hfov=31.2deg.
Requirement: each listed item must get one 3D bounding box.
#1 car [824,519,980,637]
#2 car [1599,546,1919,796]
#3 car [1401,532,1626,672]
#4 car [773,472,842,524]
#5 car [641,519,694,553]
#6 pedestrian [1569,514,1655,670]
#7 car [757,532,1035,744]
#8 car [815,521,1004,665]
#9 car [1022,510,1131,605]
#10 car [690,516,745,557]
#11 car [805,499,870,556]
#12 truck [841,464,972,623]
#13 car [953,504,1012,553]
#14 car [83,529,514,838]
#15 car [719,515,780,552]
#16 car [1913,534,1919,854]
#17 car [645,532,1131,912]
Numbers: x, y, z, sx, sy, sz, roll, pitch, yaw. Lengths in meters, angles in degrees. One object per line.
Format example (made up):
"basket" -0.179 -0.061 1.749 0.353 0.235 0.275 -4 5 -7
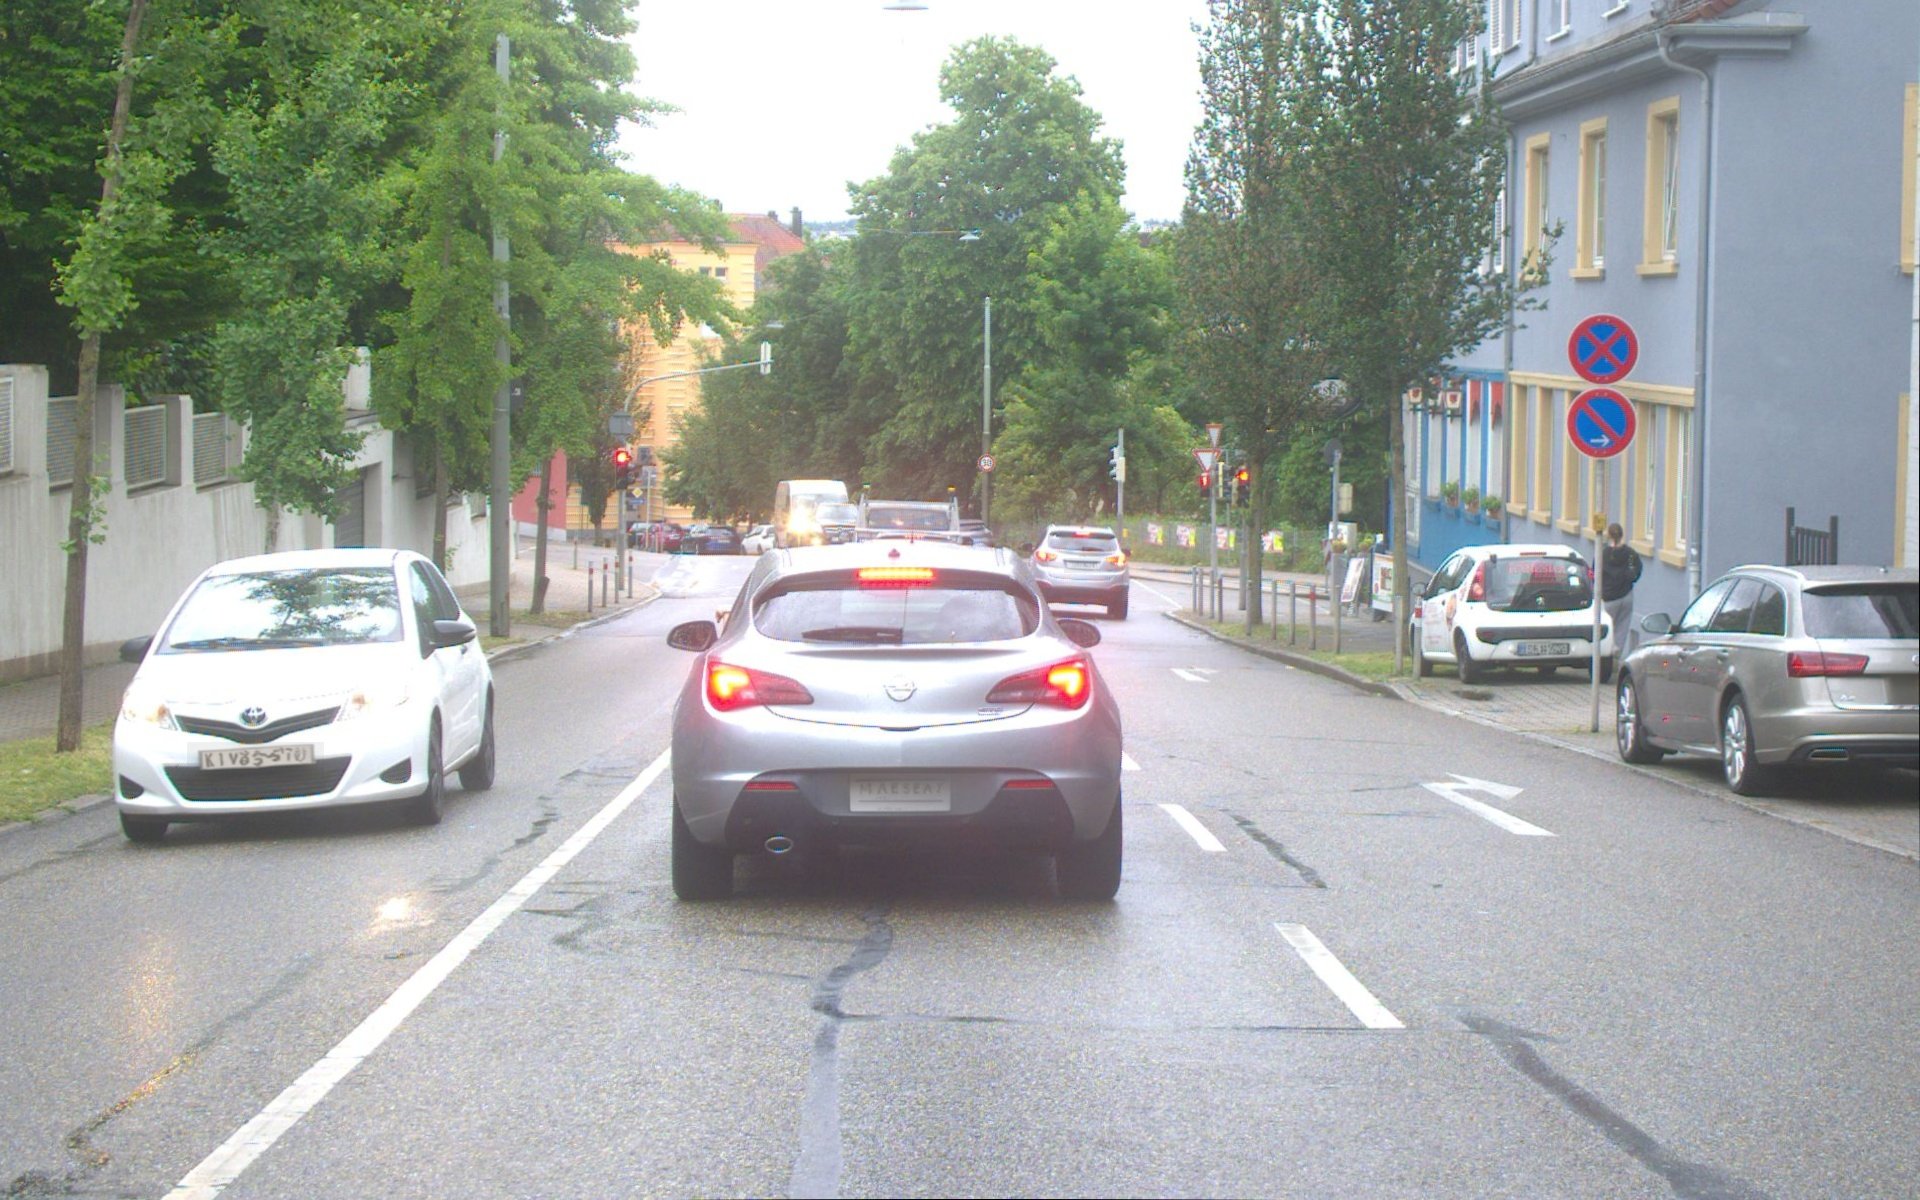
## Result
"car" -0.806 -0.335 46.068 1.962 1.443 4.306 2 1 -2
"car" 5.734 0.392 22.799 1.962 1.443 4.527 0 2 -2
"car" 6.003 -0.017 37.677 1.722 1.443 3.880 0 1 -2
"car" -4.871 -3.224 109.186 1.722 1.632 3.881 -1 1 -9
"car" -14.223 -3.130 167.054 1.722 1.632 3.881 -1 1 -18
"pedestrian" 7.316 -0.097 38.597 0.783 1.723 0.651 2 1 0
"car" -0.527 0.233 26.870 1.962 1.443 4.306 2 1 -2
"car" -0.599 -0.124 38.409 1.962 1.443 4.306 2 1 -2
"car" 2.137 -0.809 64.099 1.722 1.708 3.880 0 1 -3
"car" -10.038 -2.626 142.242 1.722 1.632 3.881 1 1 -12
"car" -3.619 -2.151 101.567 1.870 1.632 3.880 0 1 -2
"truck" -0.911 -0.943 56.060 1.962 2.420 4.936 2 1 -2
"car" 0.758 -2.454 117.864 1.722 1.632 3.880 0 1 -4
"car" -3.651 0.390 19.608 1.709 1.526 3.842 -2 1 -1
"car" -9.095 -2.867 148.262 1.722 1.538 3.881 -1 1 -18
"car" 5.741 0.512 15.191 1.728 1.593 4.162 0 1 -3
"car" -0.356 0.431 15.020 1.837 1.429 3.880 0 1 -2
